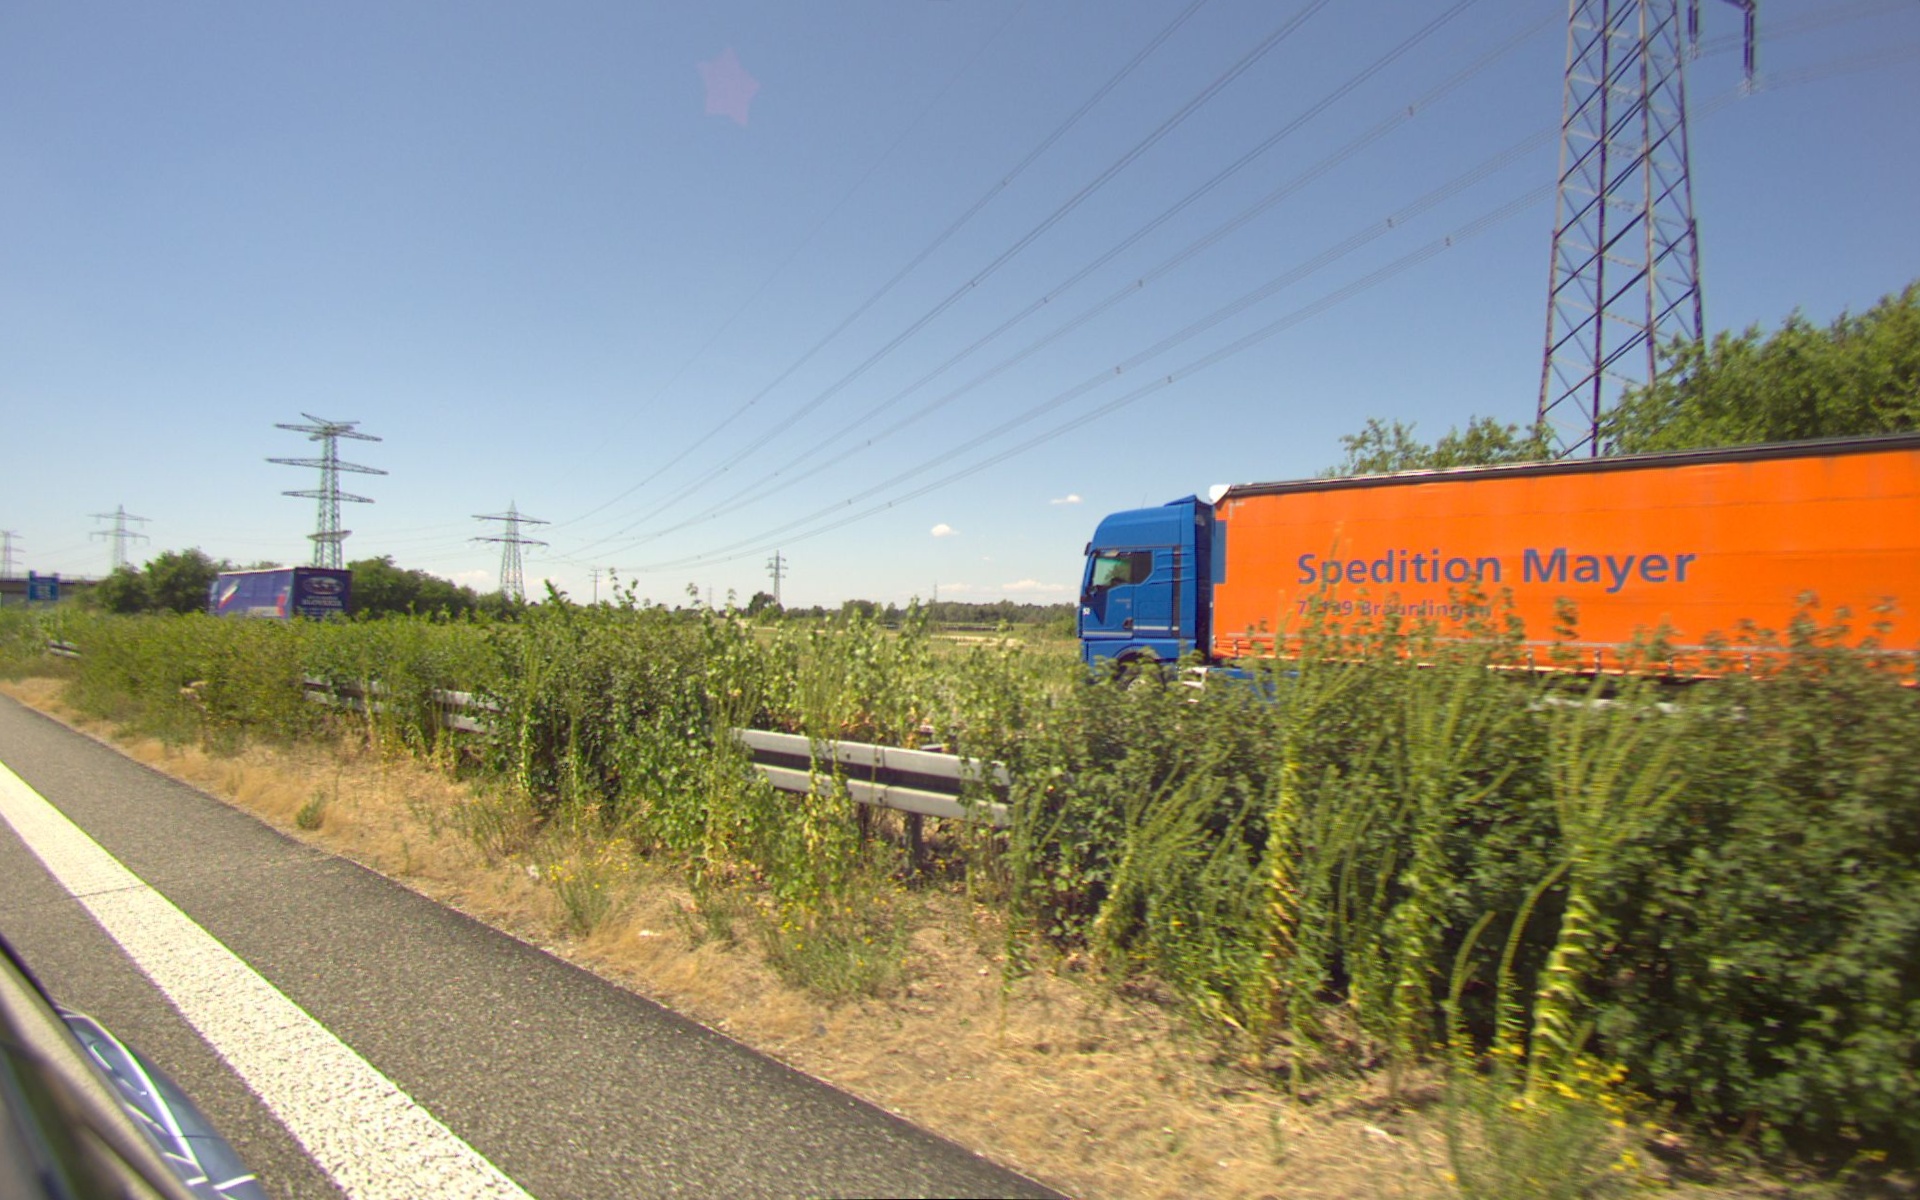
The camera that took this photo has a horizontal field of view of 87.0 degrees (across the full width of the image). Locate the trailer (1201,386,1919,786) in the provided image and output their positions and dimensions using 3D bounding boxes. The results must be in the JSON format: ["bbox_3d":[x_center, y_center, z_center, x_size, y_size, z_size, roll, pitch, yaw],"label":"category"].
[{"bbox_3d":[10.469,-0.100,13.579,14.155,4.441,3.309,-1,-2,40],"label":"trailer"}]

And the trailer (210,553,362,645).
[{"bbox_3d":[-36.734,0.065,54.759,14.224,4.441,3.055,-1,-3,41],"label":"trailer"}]

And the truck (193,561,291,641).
[{"bbox_3d":[-42.408,0.142,59.739,6.797,4.441,3.055,-1,-3,41],"label":"truck"}]

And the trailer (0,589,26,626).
[{"bbox_3d":[-120.712,0.941,127.052,14.314,4.442,3.332,-1,-4,41],"label":"trailer"}]

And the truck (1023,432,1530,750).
[{"bbox_3d":[5.308,-0.049,17.994,7.966,4.441,3.309,-1,-2,40],"label":"truck"}]
